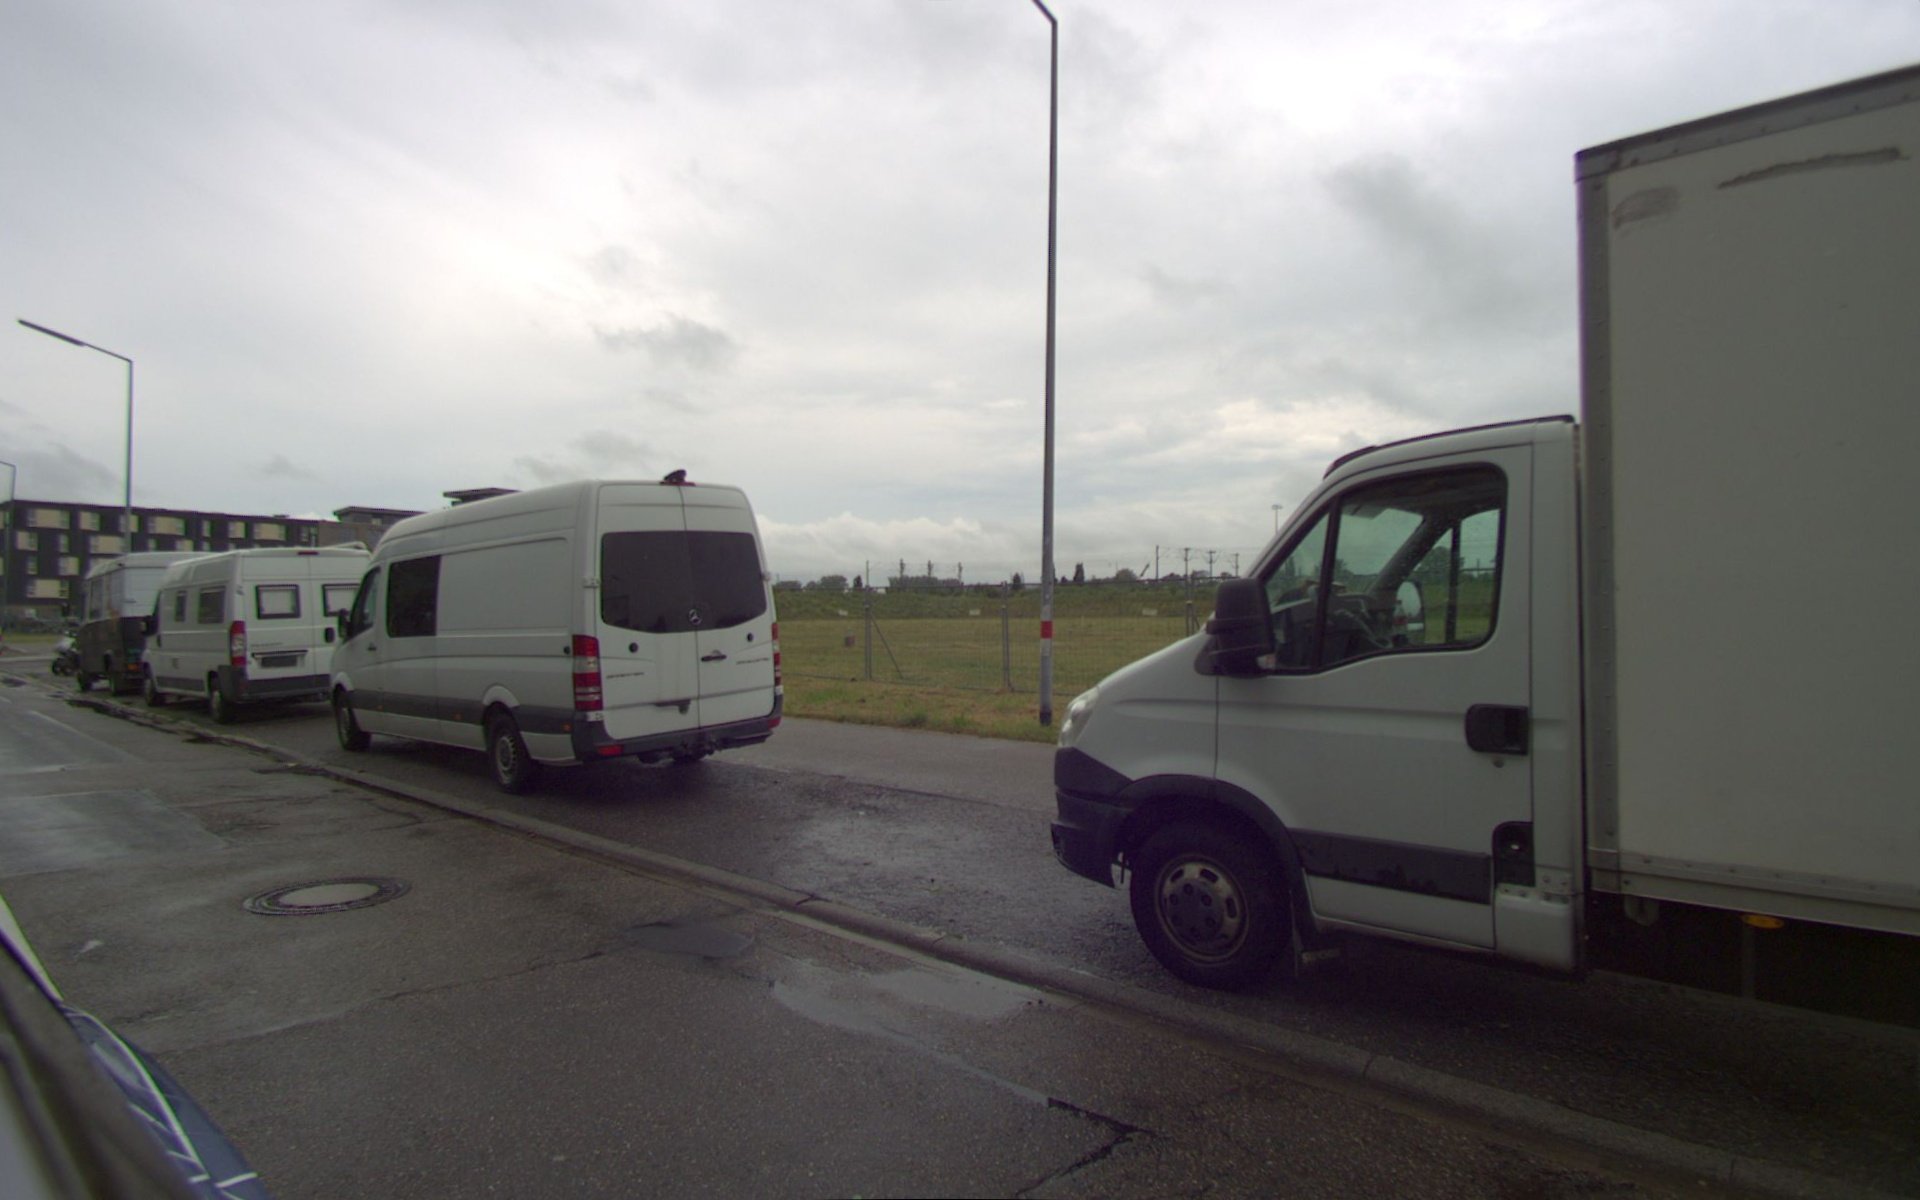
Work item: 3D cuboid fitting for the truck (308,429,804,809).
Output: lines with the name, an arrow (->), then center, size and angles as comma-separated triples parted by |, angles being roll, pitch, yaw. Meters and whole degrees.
truck -> -4.545, 0.174, 10.448 | 6.736, 2.787, 2.019 | -1, 0, 43

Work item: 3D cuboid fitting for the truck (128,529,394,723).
truck -> -11.587, 0.403, 16.547 | 6.129, 2.626, 2.152 | -1, -1, 41

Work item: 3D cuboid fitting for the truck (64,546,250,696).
truck -> -16.965, 0.427, 21.264 | 5.287, 2.767, 2.152 | -1, -1, 41

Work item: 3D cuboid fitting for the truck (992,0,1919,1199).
truck -> 3.470, -0.046, 3.160 | 6.696, 3.091, 2.410 | -1, 0, 41
